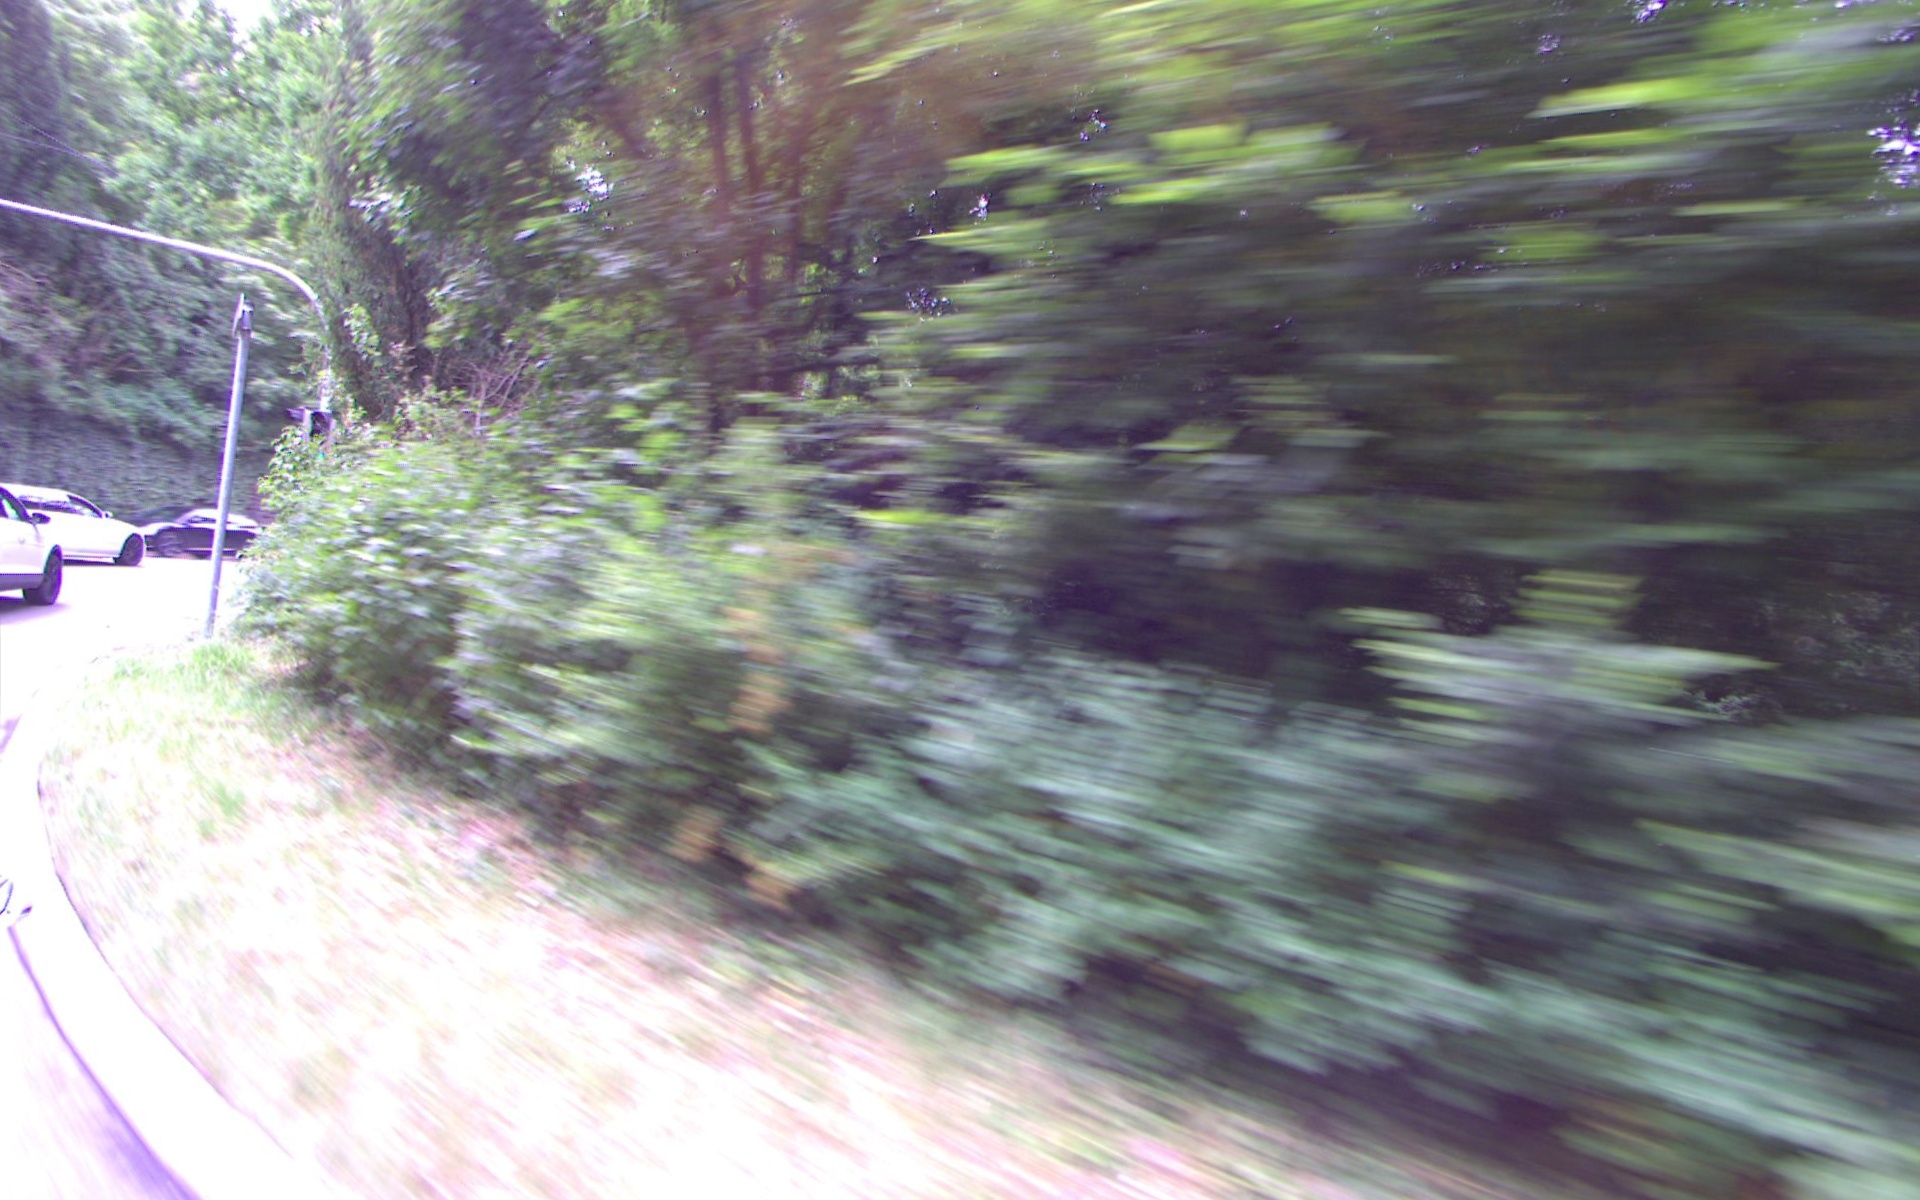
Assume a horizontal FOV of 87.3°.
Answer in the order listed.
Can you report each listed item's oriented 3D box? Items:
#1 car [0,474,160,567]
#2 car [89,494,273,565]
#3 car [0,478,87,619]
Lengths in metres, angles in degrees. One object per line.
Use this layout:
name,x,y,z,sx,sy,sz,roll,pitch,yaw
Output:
car,-18.304,-1.599,19.795,1.840,1.552,4.767,7,0,-10
car,-22.535,-1.972,29.348,1.605,1.562,4.398,6,0,5
car,-11.956,-0.716,11.725,1.741,1.572,4.304,7,0,-30
